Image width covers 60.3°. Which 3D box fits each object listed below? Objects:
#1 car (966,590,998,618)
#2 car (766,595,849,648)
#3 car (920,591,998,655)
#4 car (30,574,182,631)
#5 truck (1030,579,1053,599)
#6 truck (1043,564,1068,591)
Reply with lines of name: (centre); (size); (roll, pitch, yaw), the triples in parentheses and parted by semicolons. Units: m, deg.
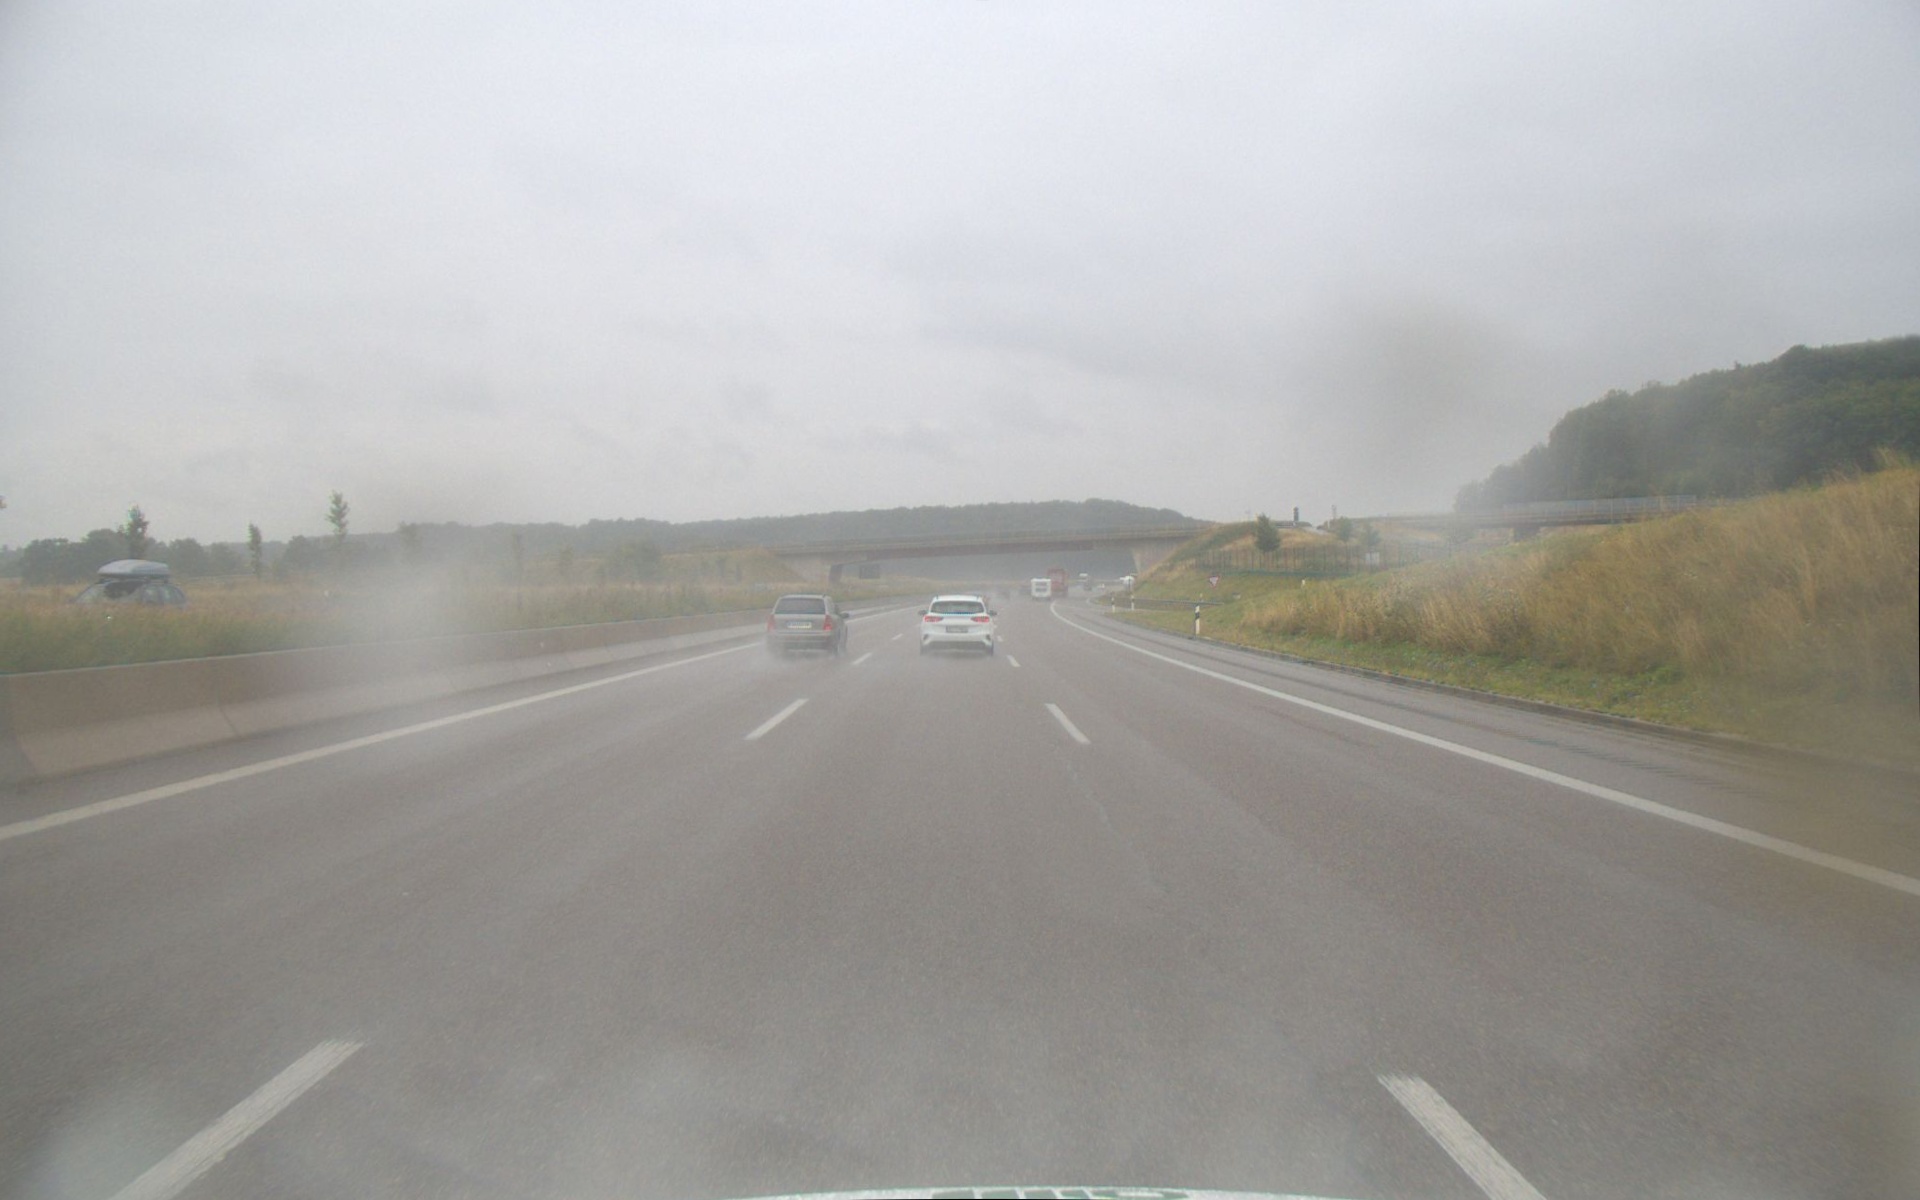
car: (1.354, 0.214, 102.678); (1.952, 1.646, 4.001); (0, 1, 1)
car: (-3.648, 0.513, 40.135); (1.787, 1.176, 4.210); (1, 0, -3)
car: (-0.041, 0.530, 40.699); (1.829, 1.488, 3.999); (0, 0, -1)
car: (-20.036, 0.047, 38.965); (1.612, 1.279, 3.798); (0, 0, 0)
truck: (9.448, -1.309, 191.946); (2.356, 2.291, 4.696); (0, 1, 7)
truck: (14.151, -3.364, 246.789); (3.454, 3.808, 11.431); (1, 2, 2)
